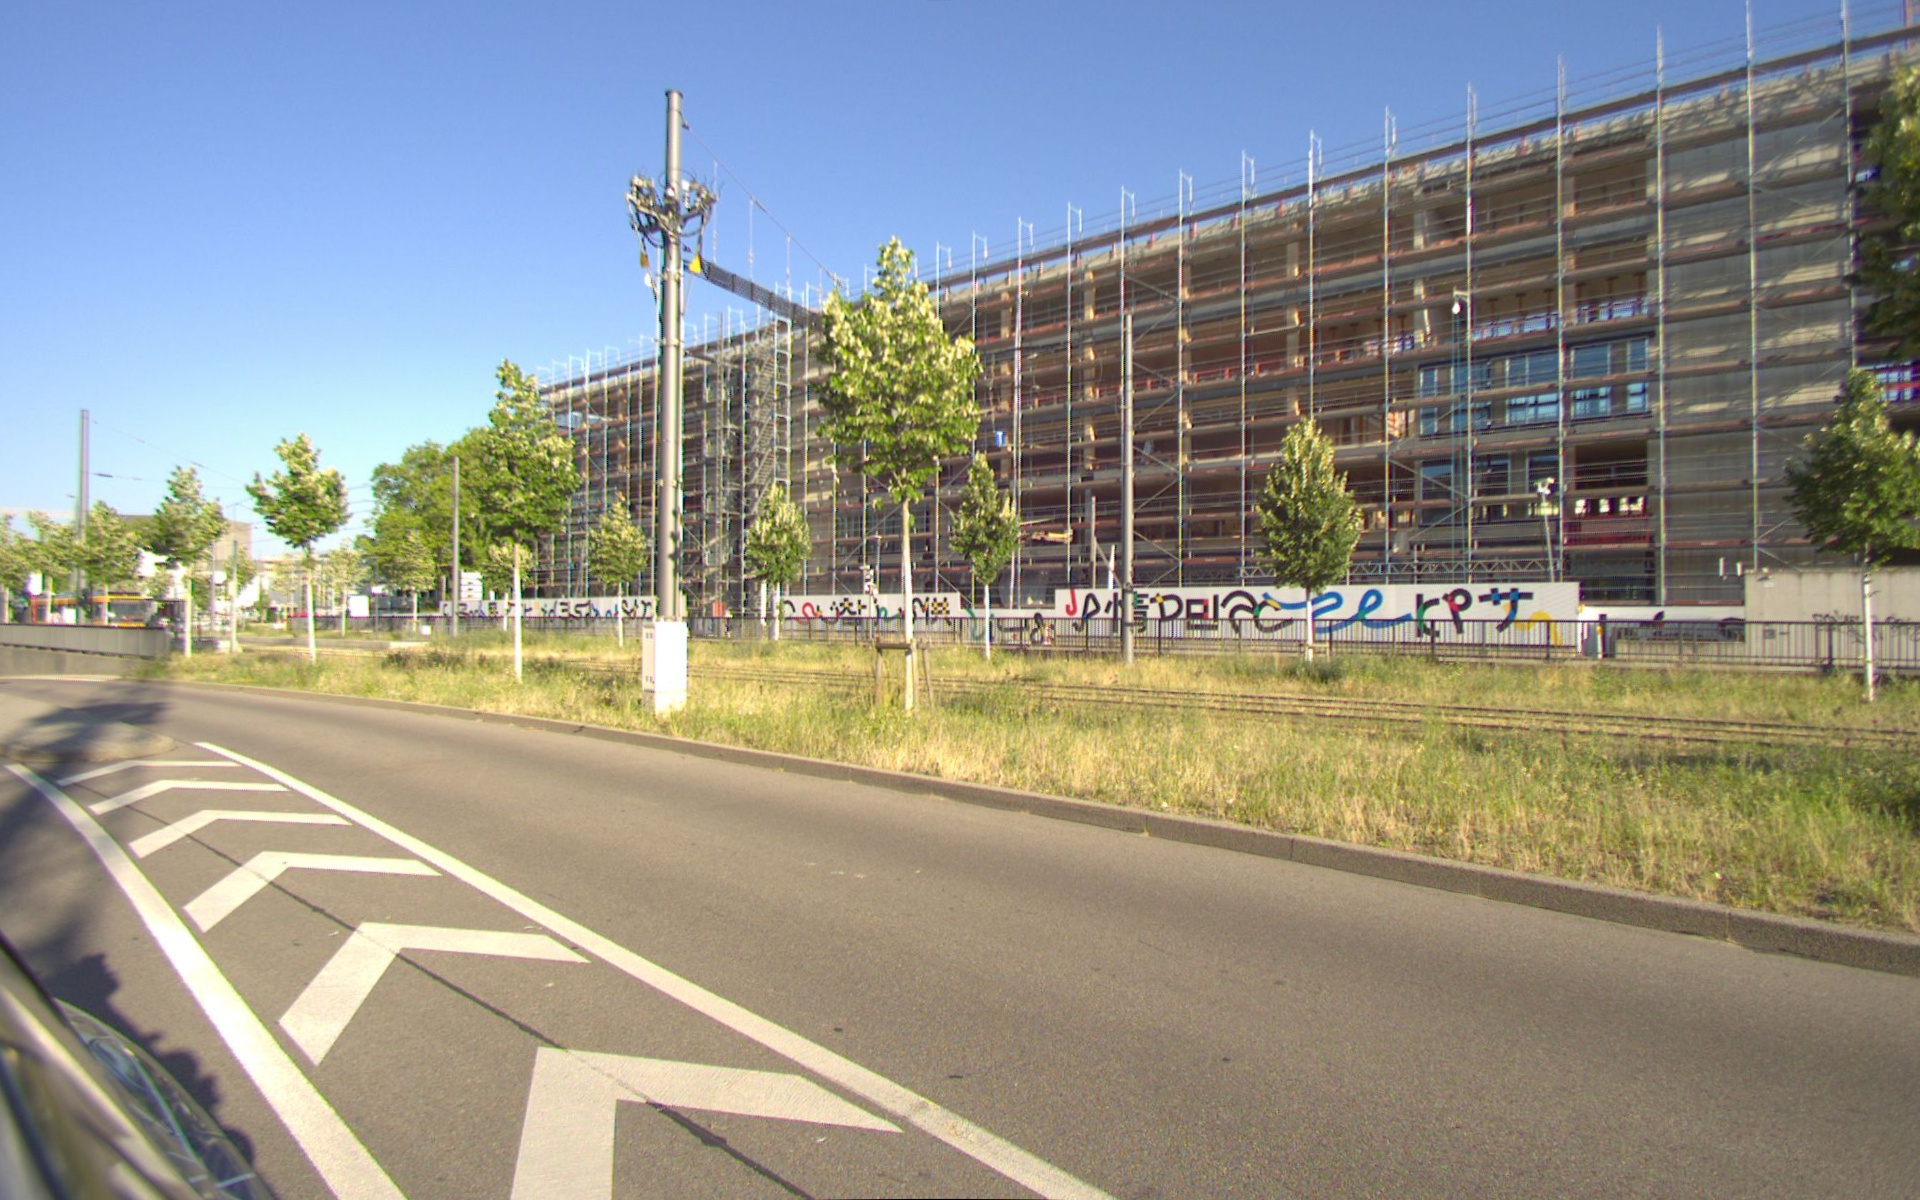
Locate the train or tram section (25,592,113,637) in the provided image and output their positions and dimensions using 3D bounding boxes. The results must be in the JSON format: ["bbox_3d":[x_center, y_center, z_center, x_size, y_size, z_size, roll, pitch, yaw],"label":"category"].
[{"bbox_3d":[-73.244,1.172,83.023,14.749,3.423,2.917,-1,0,39],"label":"train or tram section"}]

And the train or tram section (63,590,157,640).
[{"bbox_3d":[-62.596,1.108,74.365,12.619,3.423,2.917,-1,0,39],"label":"train or tram section"}]
